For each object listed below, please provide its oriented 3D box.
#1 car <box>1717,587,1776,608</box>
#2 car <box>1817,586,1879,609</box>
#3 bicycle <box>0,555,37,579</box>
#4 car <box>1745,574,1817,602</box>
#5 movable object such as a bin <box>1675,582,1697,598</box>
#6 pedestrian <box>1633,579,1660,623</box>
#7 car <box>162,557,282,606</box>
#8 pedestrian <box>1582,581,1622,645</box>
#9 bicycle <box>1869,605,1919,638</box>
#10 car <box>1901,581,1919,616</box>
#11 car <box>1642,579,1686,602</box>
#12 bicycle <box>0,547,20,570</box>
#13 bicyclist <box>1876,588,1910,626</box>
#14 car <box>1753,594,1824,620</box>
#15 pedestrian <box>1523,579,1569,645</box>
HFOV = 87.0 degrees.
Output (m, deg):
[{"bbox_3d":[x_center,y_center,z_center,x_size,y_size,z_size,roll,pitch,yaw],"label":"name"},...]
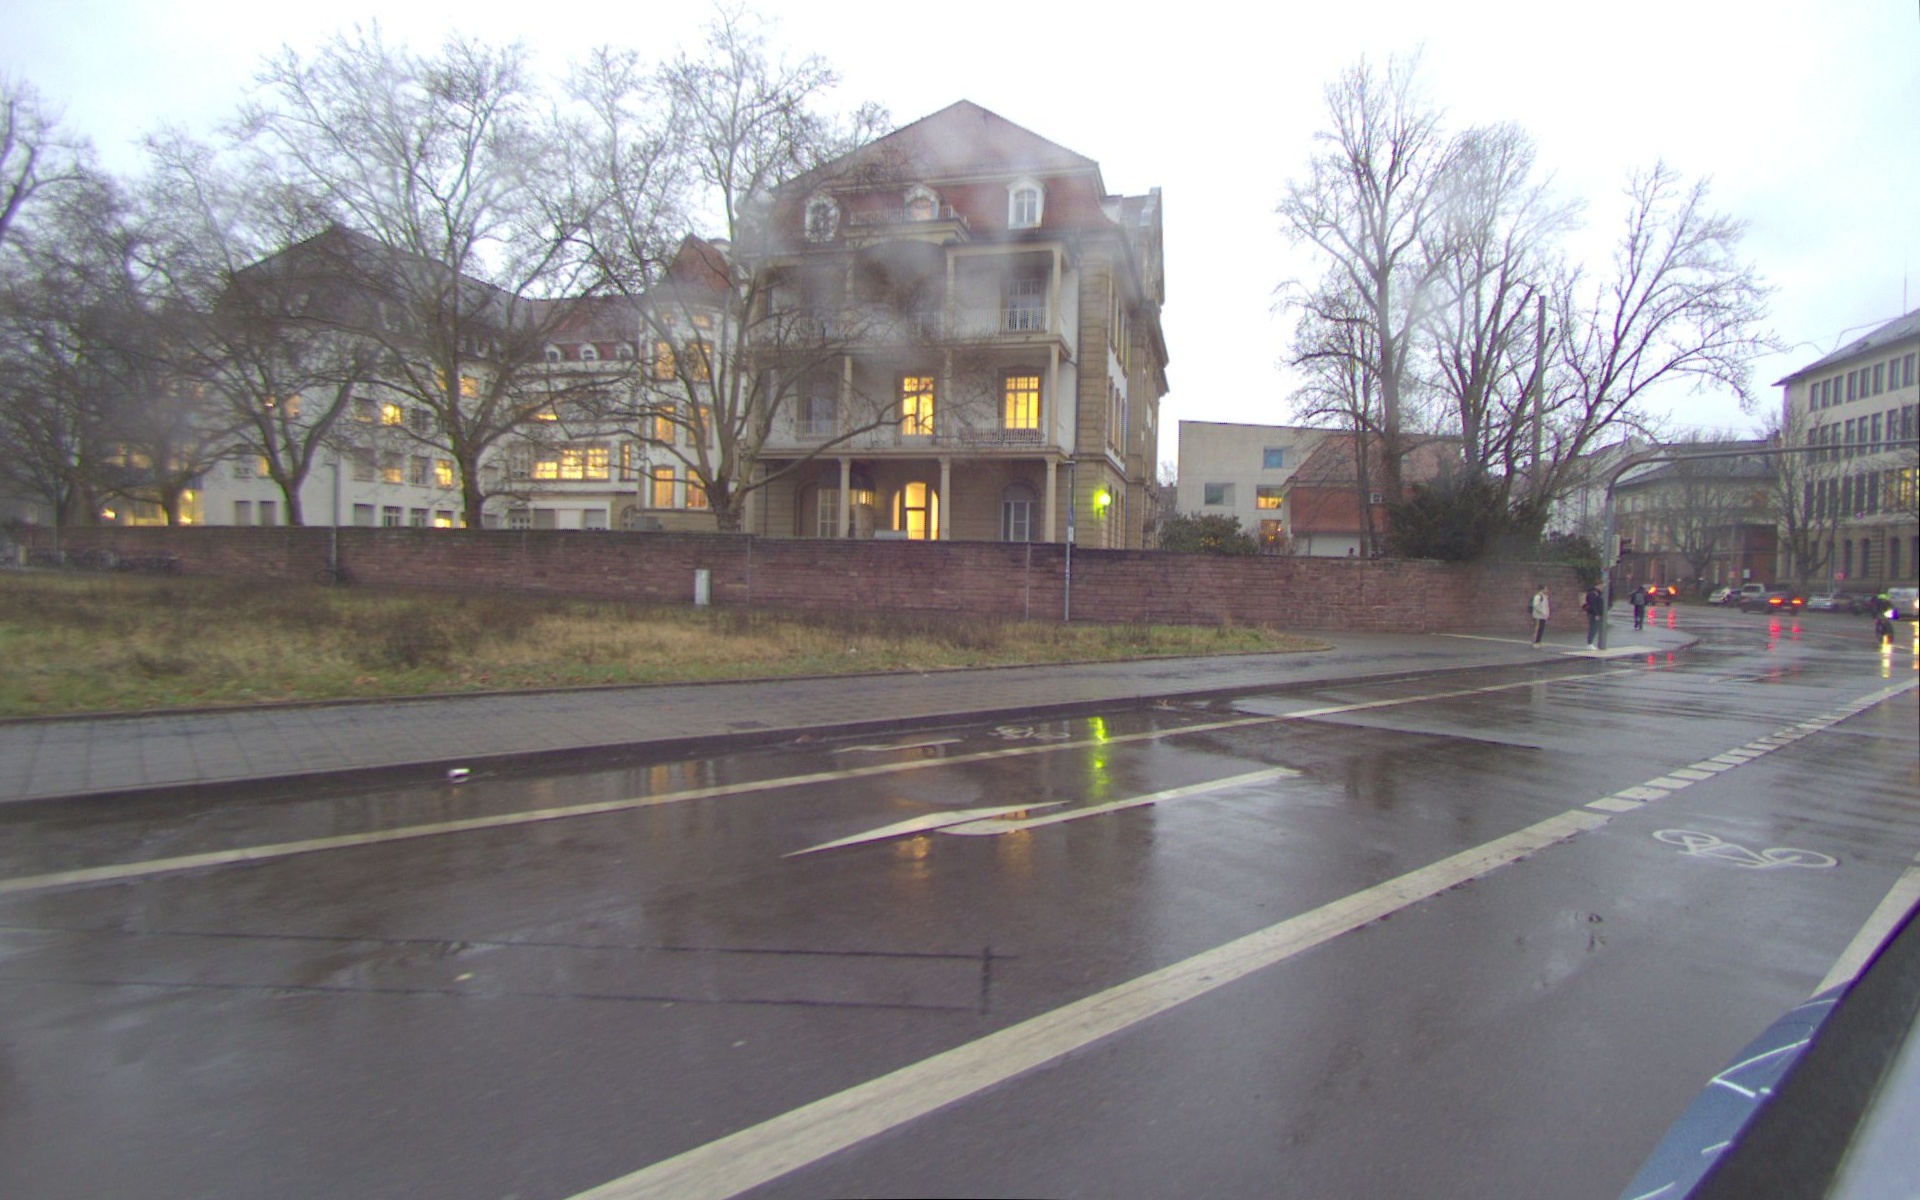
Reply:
[{"bbox_3d":[66.337,-0.220,85.379,4.097,1.610,1.779,-2,2,-14],"label":"car"},{"bbox_3d":[62.900,-0.209,71.701,3.747,1.475,1.641,-2,2,-19],"label":"car"},{"bbox_3d":[-41.847,-1.425,44.100,2.372,1.003,0.479,-3,2,-41],"label":"bicycle"},{"bbox_3d":[64.668,-0.980,79.755,4.526,2.079,1.970,-1,2,-12],"label":"car"},{"bbox_3d":[68.821,-0.969,95.961,0.966,1.482,1.347,-2,2,-22],"label":"movable object such as a bin"},{"bbox_3d":[27.856,0.018,41.090,0.802,1.705,1.143,4,2,33],"label":"pedestrian"},{"bbox_3d":[-16.367,-0.440,22.569,1.275,0.989,2.688,2,2,-16],"label":"car"},{"bbox_3d":[17.573,0.341,27.707,0.788,1.696,0.720,4,3,36],"label":"pedestrian"},{"bbox_3d":[33.657,0.749,36.471,0.717,1.104,2.265,1,0,25],"label":"bicycle"},{"bbox_3d":[59.393,-0.116,61.140,4.704,2.058,1.917,-2,2,-22],"label":"car"},{"bbox_3d":[56.502,-0.773,81.277,1.739,1.682,4.500,3,3,20],"label":"car"},{"bbox_3d":[-42.757,-1.824,44.262,2.372,1.003,0.537,-3,2,-41],"label":"bicycle"},{"bbox_3d":[33.658,0.243,36.509,0.710,1.359,0.713,0,2,25],"label":"bicyclist"},{"bbox_3d":[52.476,0.404,64.205,1.727,1.395,4.348,3,3,14],"label":"car"},{"bbox_3d":[16.014,0.309,27.668,0.953,1.696,0.772,3,2,28],"label":"pedestrian"}]
